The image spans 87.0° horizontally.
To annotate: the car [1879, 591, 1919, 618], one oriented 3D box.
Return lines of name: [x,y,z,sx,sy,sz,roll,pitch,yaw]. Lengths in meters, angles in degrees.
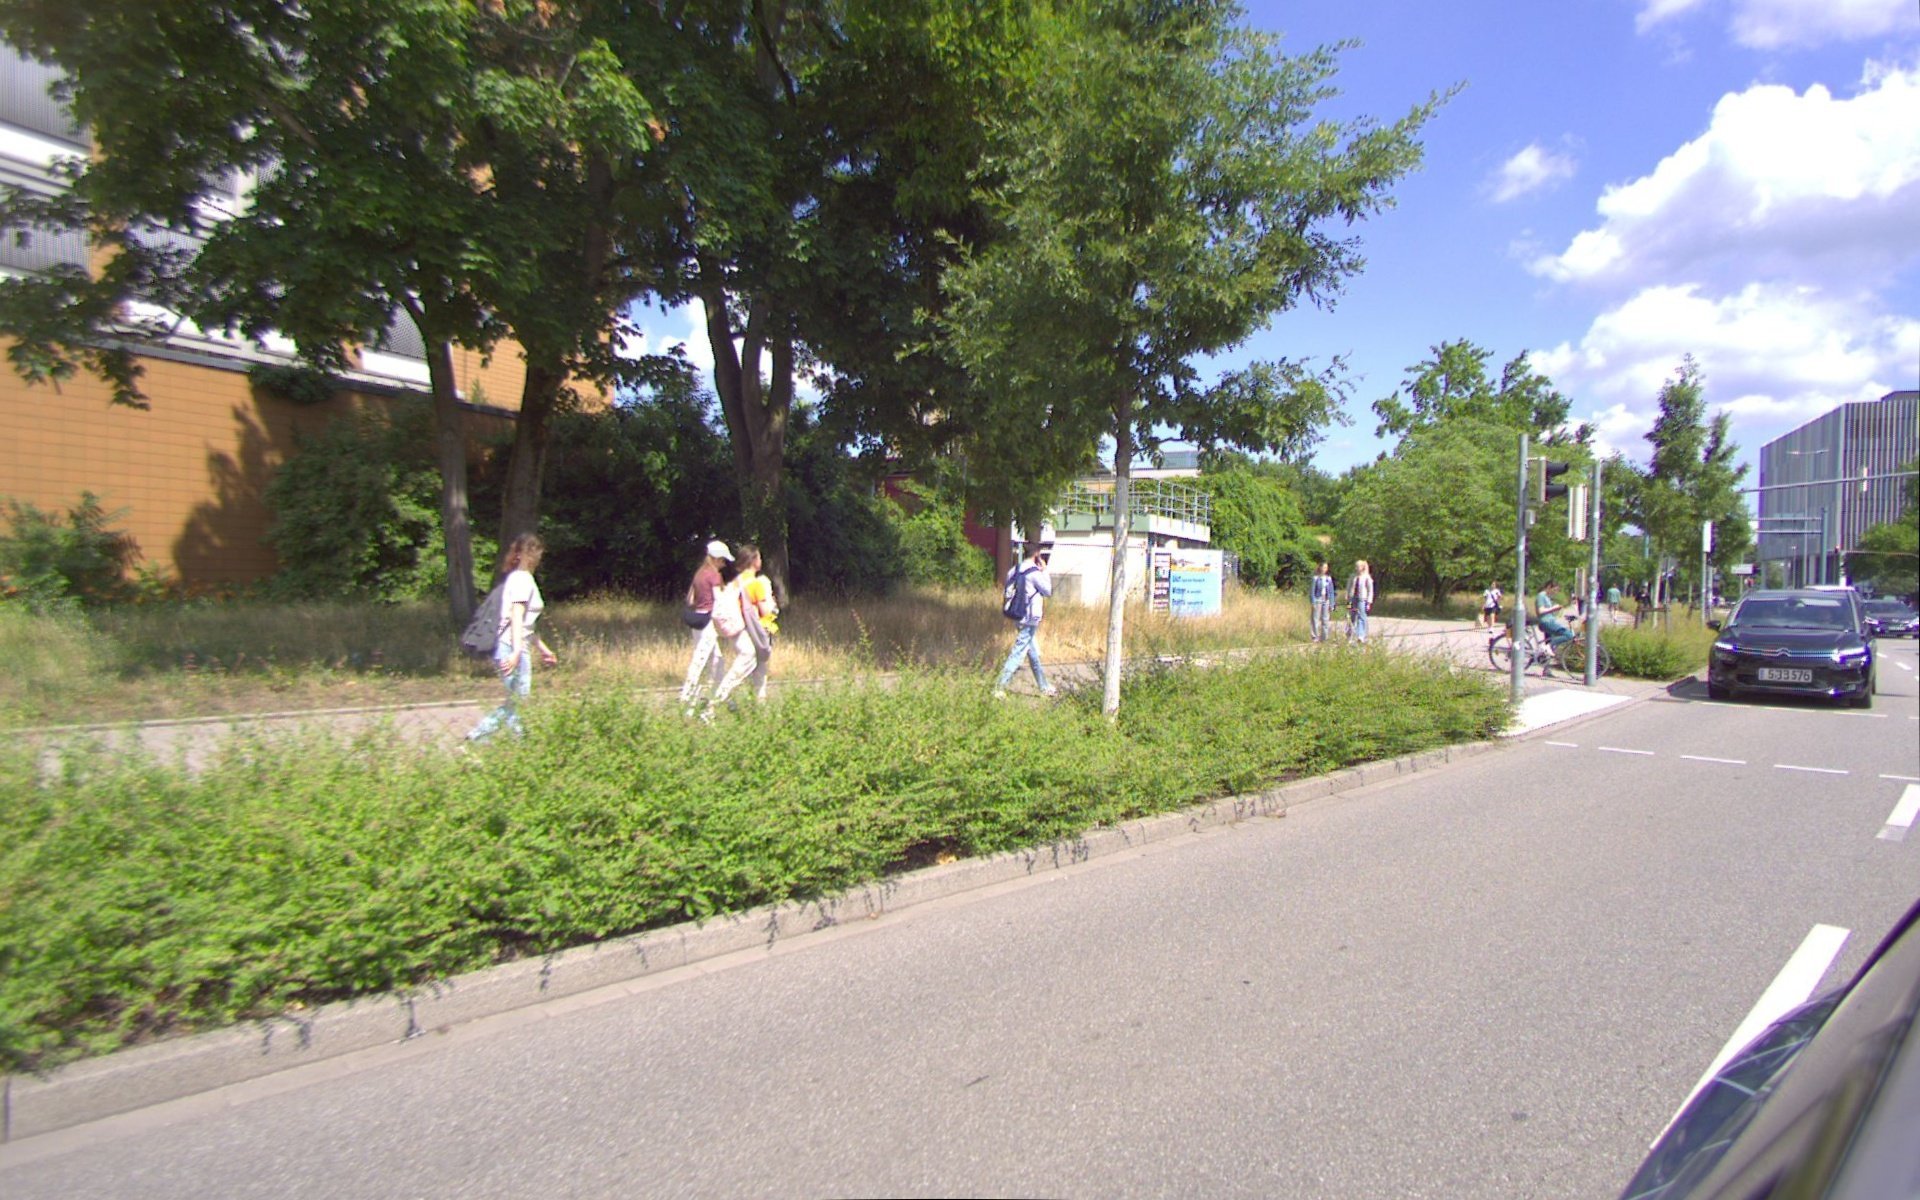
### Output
car: [81.887,0.410,87.891,2.200,2.198,4.467,3,2,33]

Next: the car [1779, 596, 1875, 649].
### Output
car: [25.301,0.612,29.654,1.756,1.435,4.306,-1,0,36]

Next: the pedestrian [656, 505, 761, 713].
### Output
pedestrian: [-2.350,0.075,9.458,0.755,1.844,0.629,0,1,40]

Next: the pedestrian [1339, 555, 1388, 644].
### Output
pedestrian: [8.517,-0.019,21.339,0.748,1.824,0.601,3,1,38]

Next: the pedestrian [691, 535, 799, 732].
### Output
pedestrian: [-1.882,0.272,8.893,0.586,1.646,0.717,0,1,40]

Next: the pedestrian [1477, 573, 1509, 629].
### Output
pedestrian: [16.216,0.023,30.798,0.744,1.616,0.874,3,1,24]

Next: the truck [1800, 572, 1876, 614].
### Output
truck: [51.622,-0.371,59.616,2.444,2.330,5.749,-1,0,32]

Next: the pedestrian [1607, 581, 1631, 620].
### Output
pedestrian: [31.076,0.032,47.740,0.744,1.799,0.874,3,1,26]

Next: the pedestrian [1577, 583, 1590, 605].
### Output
pedestrian: [50.800,-0.460,82.458,0.838,1.787,0.832,0,1,31]

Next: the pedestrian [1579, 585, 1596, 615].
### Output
pedestrian: [37.292,0.005,60.143,0.746,1.771,0.660,3,1,31]

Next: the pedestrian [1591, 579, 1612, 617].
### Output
pedestrian: [30.322,-0.110,47.840,0.662,1.768,0.604,3,1,26]

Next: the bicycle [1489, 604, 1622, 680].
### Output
bicycle: [9.981,0.682,17.004,1.807,1.062,0.583,5,4,39]

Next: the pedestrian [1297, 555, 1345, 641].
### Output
pedestrian: [7.701,-0.057,21.584,0.748,1.774,0.601,3,1,38]

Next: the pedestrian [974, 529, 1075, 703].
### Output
pedestrian: [0.735,0.154,11.409,0.753,1.843,0.771,5,4,34]

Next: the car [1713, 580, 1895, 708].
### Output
car: [12.803,0.558,15.248,1.857,1.643,4.450,-1,0,43]

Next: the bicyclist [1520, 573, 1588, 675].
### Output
bicyclist: [9.974,0.381,17.004,0.826,1.620,0.572,5,4,39]

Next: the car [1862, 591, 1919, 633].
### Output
car: [36.106,0.437,39.008,1.744,1.523,4.456,-1,0,39]

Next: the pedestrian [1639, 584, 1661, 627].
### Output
pedestrian: [29.236,0.209,42.888,0.663,1.771,0.838,3,1,31]

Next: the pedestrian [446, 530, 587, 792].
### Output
pedestrian: [-3.008,0.364,6.849,0.760,1.645,0.653,0,4,-35]
